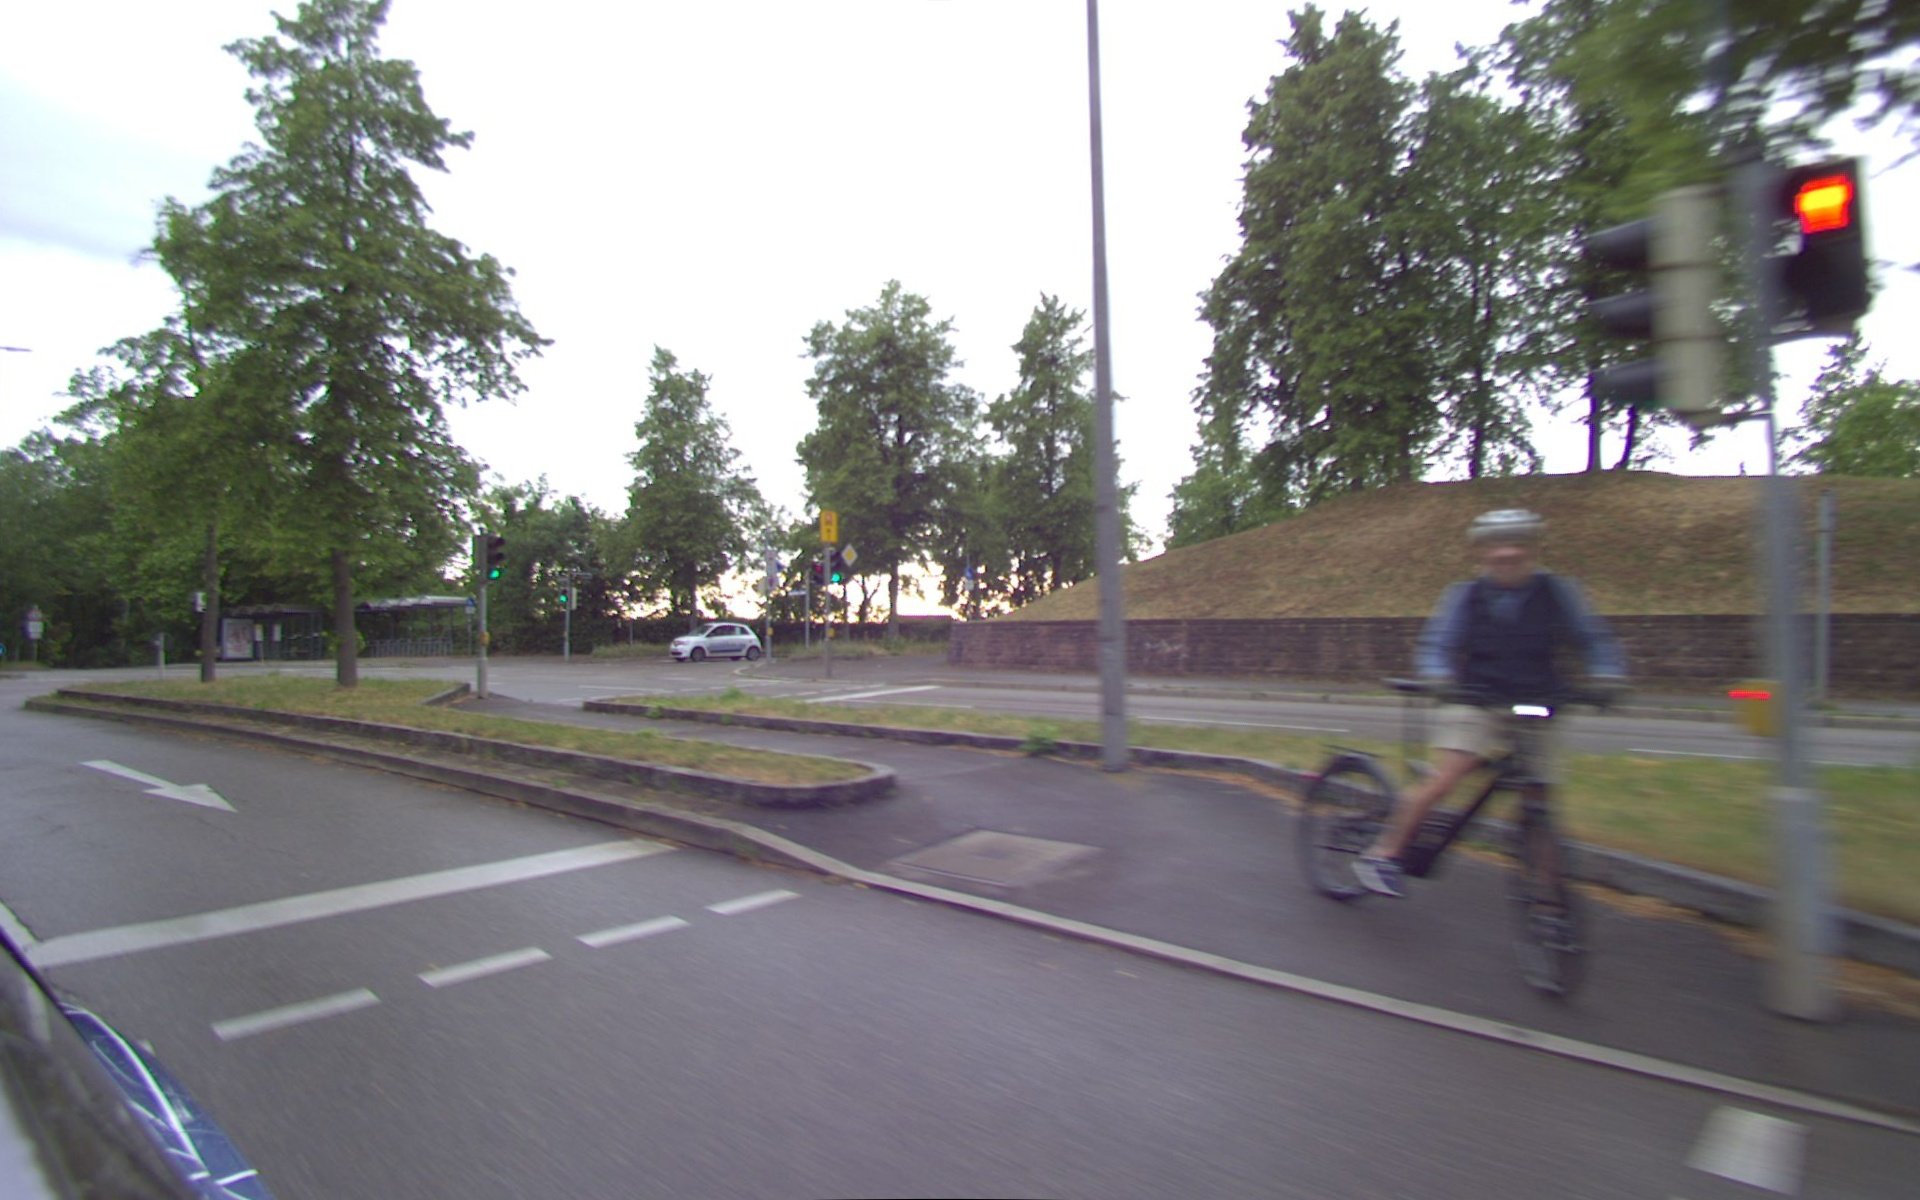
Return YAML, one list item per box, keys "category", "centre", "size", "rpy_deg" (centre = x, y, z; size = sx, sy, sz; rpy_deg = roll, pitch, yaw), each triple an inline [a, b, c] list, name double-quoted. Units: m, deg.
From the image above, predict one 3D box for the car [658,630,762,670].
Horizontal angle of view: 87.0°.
- category: "car"
  centre: [-10.036, 1.995, 40.690]
  size: [3.638, 1.489, 1.765]
  rpy_deg: [0, -2, -39]

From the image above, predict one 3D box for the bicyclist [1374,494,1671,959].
- category: "bicyclist"
  centre: [2.364, 0.497, 4.323]
  size: [0.713, 1.765, 0.803]
  rpy_deg: [3, -2, -15]

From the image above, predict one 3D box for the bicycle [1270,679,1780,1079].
- category: "bicycle"
  centre: [2.173, 0.975, 4.339]
  size: [0.544, 1.151, 2.146]
  rpy_deg: [0, -1, -15]
